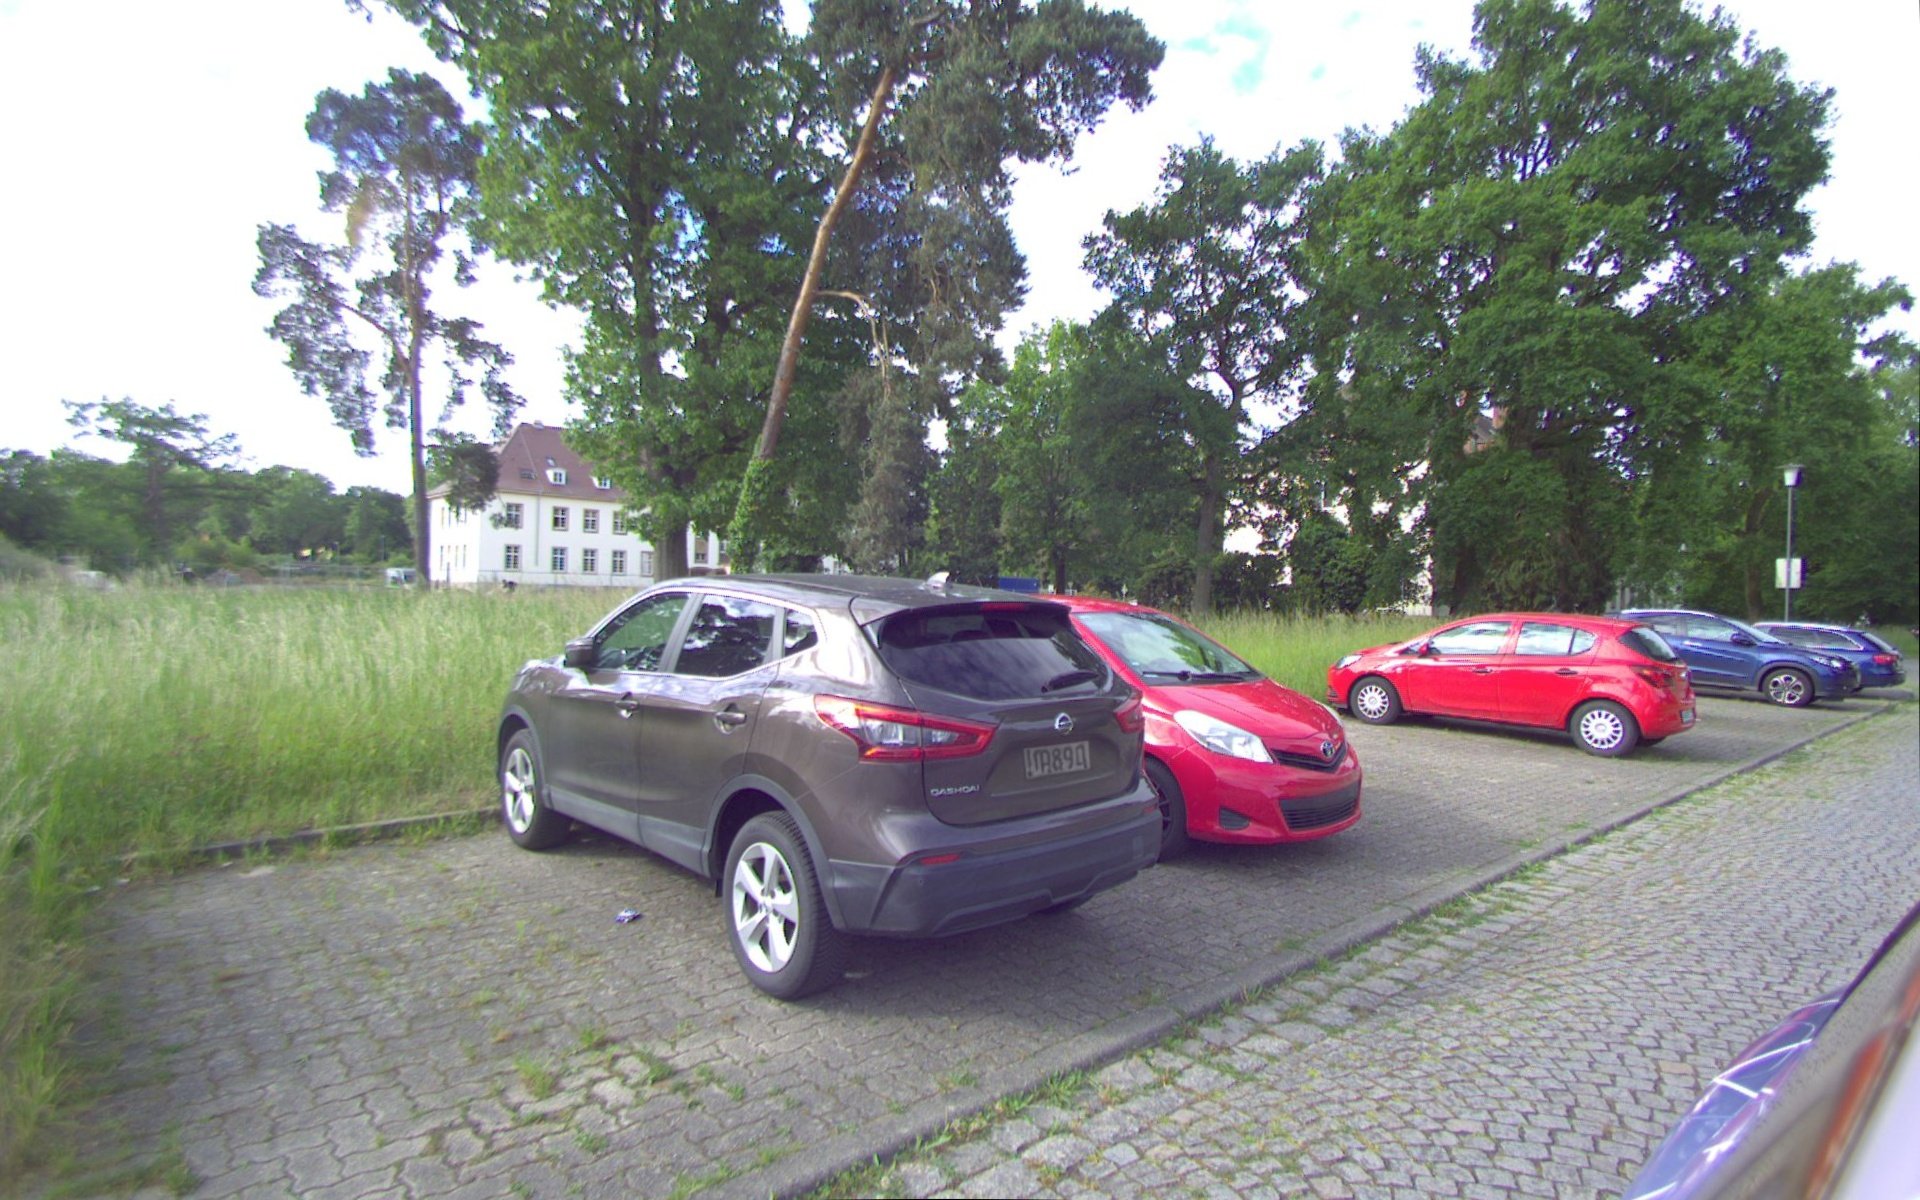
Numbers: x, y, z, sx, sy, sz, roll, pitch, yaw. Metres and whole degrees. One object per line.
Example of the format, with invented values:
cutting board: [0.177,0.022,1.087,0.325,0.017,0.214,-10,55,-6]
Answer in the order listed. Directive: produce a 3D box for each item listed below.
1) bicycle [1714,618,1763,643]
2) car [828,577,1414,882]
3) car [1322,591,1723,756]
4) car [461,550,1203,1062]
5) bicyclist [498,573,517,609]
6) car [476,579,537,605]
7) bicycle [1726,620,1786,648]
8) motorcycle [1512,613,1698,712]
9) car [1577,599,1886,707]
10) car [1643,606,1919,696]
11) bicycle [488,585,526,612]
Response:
bicycle: [38.066,1.491,49.508,1.791,1.101,0.548,2,3,27]
car: [0.891,0.649,7.297,1.708,1.537,3.994,1,0,-41]
car: [6.584,0.741,12.153,1.708,1.524,3.845,2,1,-42]
car: [-0.948,0.614,5.196,1.733,1.600,3.953,1,0,-44]
bicyclist: [-25.666,-0.527,57.401,0.833,2.039,0.658,1,-1,-41]
car: [-37.609,-0.653,83.822,5.811,2.039,2.450,0,0,41]
bicycle: [35.035,1.489,44.564,1.999,1.101,0.474,2,3,27]
motorcycle: [9.645,0.892,15.217,2.265,1.291,0.596,3,1,44]
car: [14.199,0.884,18.826,1.862,1.593,4.271,2,1,-41]
car: [17.745,1.018,21.902,1.860,1.483,4.518,2,2,-38]
bicycle: [-25.683,-0.086,57.396,1.900,1.498,0.654,0,0,-41]
